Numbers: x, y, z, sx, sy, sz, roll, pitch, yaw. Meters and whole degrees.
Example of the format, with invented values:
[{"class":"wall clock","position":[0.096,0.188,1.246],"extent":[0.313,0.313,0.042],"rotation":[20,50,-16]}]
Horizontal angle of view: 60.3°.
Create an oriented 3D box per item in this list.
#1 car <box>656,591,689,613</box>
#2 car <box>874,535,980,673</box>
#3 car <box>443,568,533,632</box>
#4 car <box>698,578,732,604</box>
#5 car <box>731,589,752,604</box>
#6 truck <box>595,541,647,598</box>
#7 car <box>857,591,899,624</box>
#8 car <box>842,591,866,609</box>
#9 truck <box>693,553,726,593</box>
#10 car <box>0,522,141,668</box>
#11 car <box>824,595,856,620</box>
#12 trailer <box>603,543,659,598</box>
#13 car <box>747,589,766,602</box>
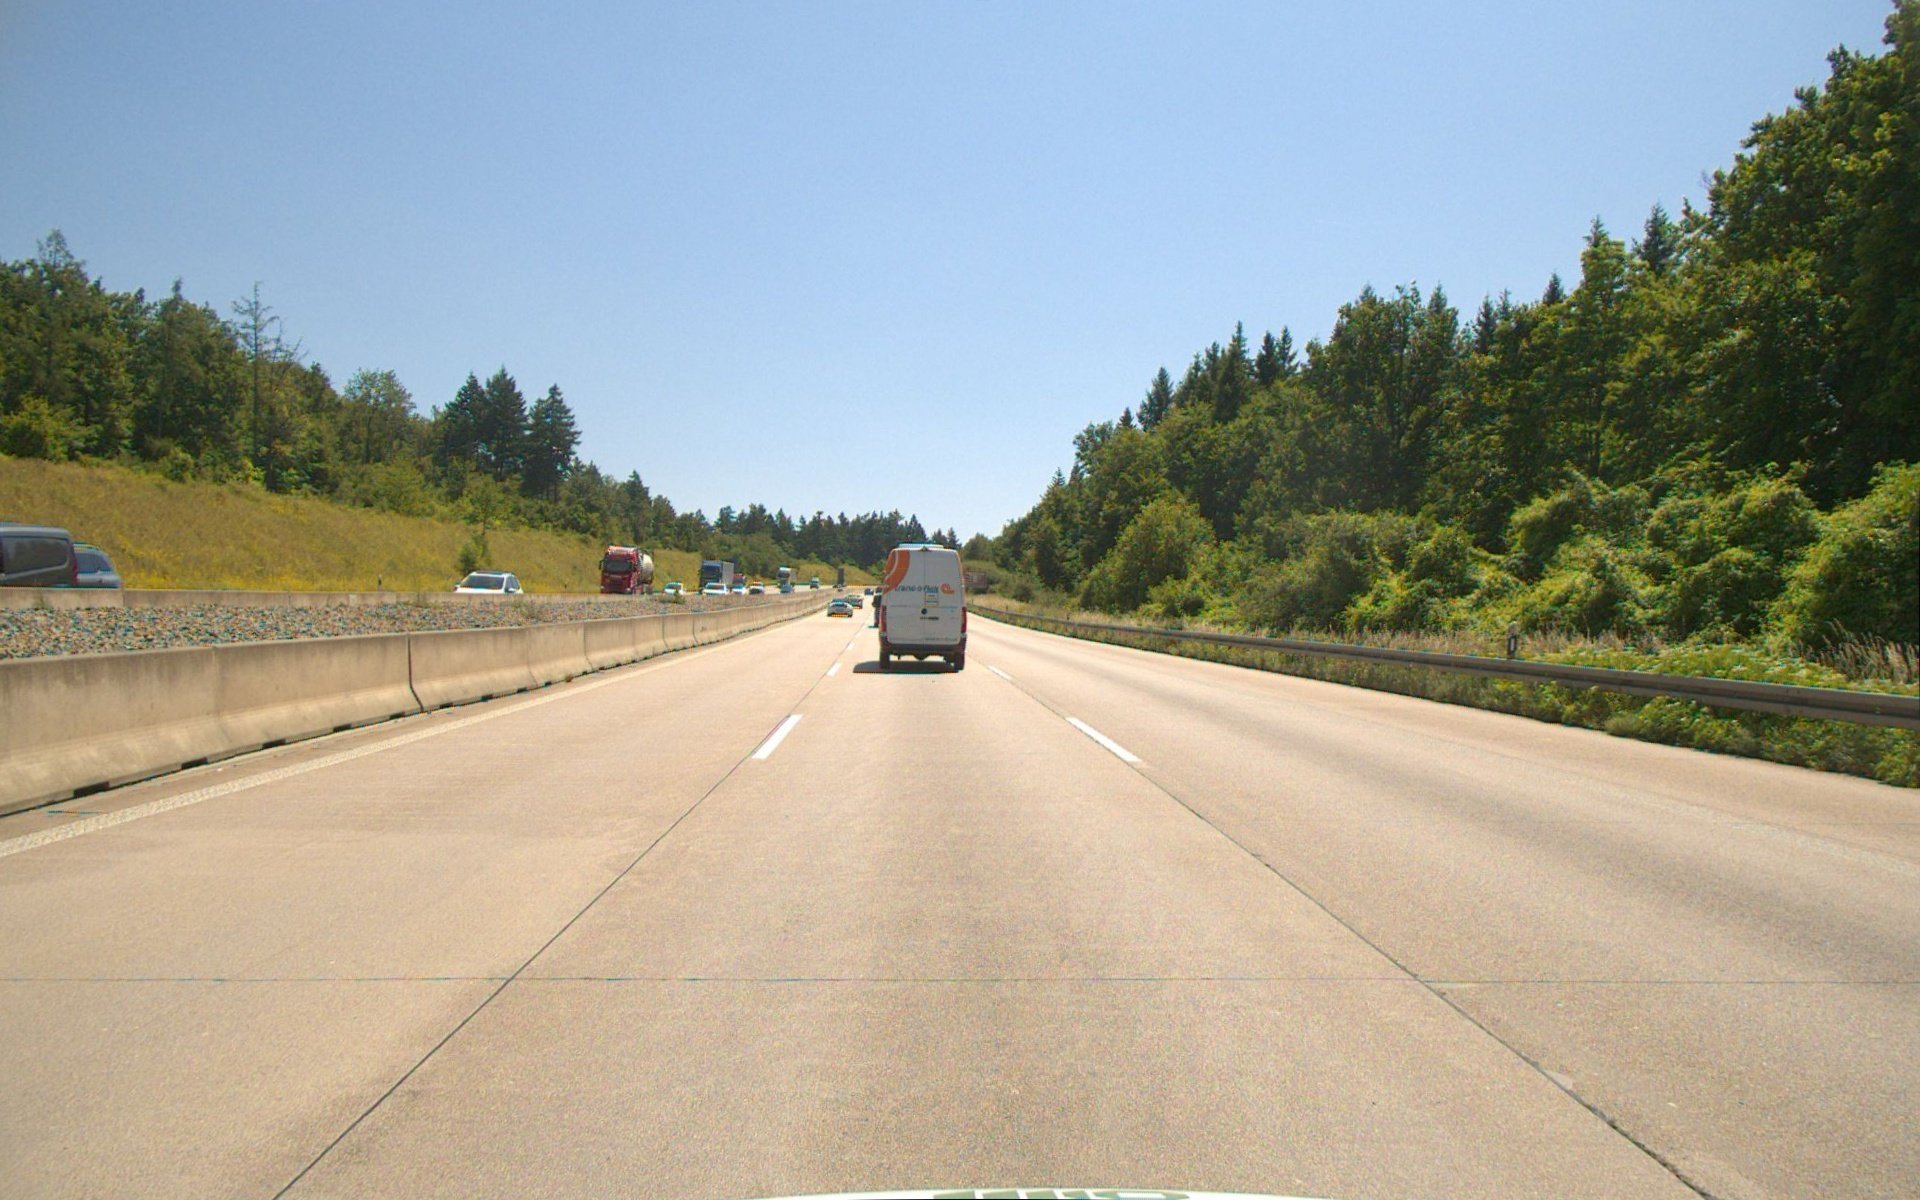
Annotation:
[{"class":"car","position":[-22.644,0.155,130.508],"extent":[1.954,1.610,4.178],"rotation":[2,0,-2]},{"class":"car","position":[-0.855,0.052,38.588],"extent":[2.182,2.893,5.451],"rotation":[3,0,-3]},{"class":"car","position":[-15.576,-0.001,54.797],"extent":[1.954,2.049,4.457],"rotation":[0,0,-3]},{"class":"car","position":[-19.019,-0.703,128.548],"extent":[1.954,1.906,4.966],"rotation":[2,0,-2]},{"class":"car","position":[-25.088,-0.395,189.875],"extent":[1.954,1.610,4.527],"rotation":[2,0,-2]},{"class":"truck","position":[-26.684,-2.361,130.494],"extent":[2.875,4.241,5.979],"rotation":[2,0,-3]},{"class":"car","position":[-4.480,0.423,91.087],"extent":[1.952,1.713,4.000],"rotation":[2,0,1]},{"class":"car","position":[-10.551,-0.016,164.427],"extent":[1.952,1.713,4.000],"rotation":[2,0,1]},{"class":"truck","position":[-29.910,-3.206,197.839],"extent":[3.192,4.583,6.570],"rotation":[2,0,-3]},{"class":"car","position":[-14.543,-0.078,25.353],"extent":[1.954,2.049,4.457],"rotation":[0,0,-3]},{"class":"car","position":[-8.813,0.564,121.952],"extent":[1.952,1.713,4.000],"rotation":[2,0,1]},{"class":"trailer","position":[-26.897,-2.357,135.598],"extent":[2.875,4.241,9.330],"rotation":[2,0,-2]},{"class":"car","position":[-26.532,-0.548,216.097],"extent":[1.954,1.610,5.516],"rotation":[2,0,-2]}]
